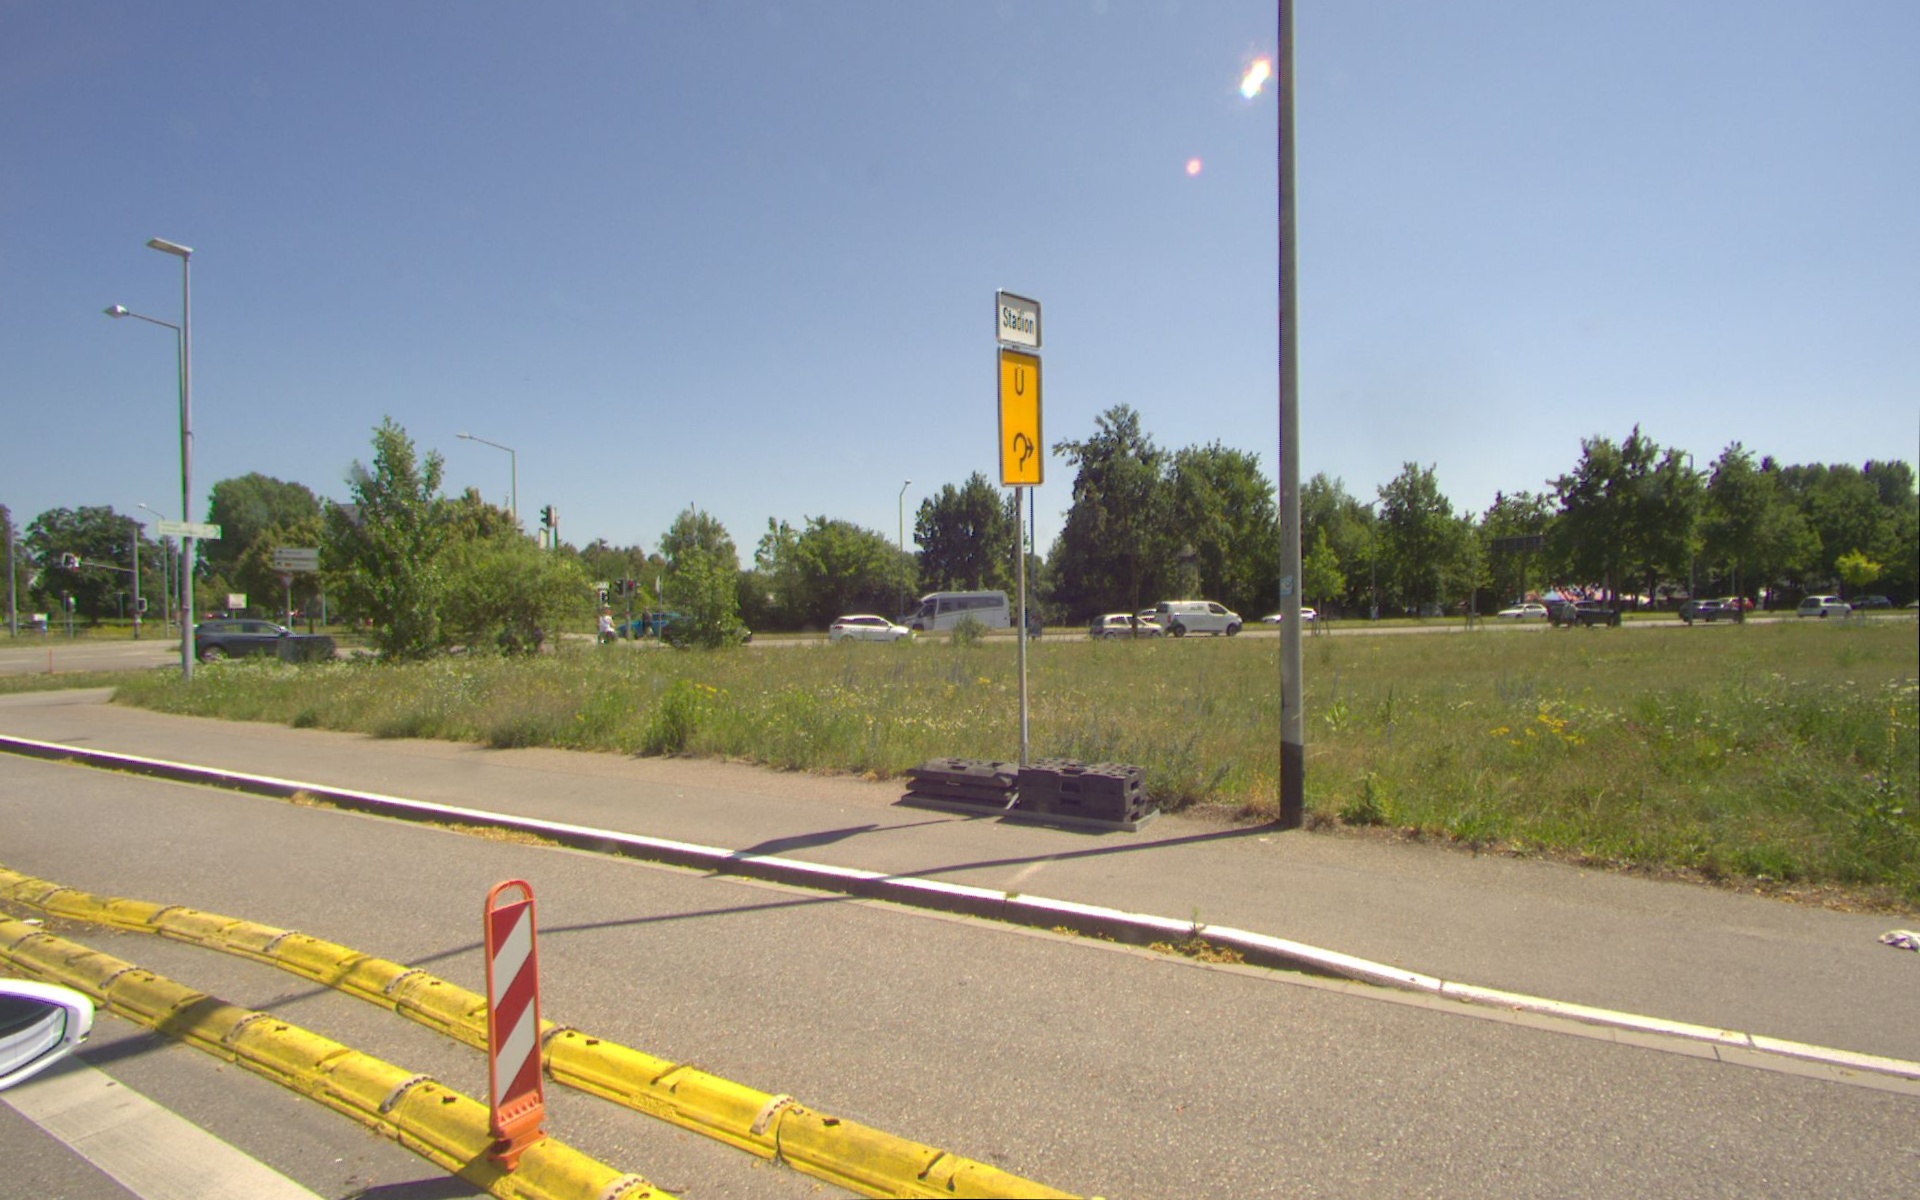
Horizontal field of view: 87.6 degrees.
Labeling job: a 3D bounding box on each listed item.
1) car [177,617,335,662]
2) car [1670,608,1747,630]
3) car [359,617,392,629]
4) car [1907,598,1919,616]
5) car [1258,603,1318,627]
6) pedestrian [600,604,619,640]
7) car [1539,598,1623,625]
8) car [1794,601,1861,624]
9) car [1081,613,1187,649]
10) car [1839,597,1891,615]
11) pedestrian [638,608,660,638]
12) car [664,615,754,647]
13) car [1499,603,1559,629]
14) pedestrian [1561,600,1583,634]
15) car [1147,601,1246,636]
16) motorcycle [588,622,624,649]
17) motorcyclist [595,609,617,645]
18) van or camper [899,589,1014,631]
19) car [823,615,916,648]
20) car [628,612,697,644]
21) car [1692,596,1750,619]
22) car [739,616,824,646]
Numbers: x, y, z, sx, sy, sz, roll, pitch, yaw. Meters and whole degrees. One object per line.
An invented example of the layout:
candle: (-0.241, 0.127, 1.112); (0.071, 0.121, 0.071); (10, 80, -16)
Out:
car: (-23.944, 1.310, 34.157); (4.177, 1.460, 1.981); (1, -2, -44)
car: (49.680, 1.280, 66.479); (4.131, 1.409, 1.899); (0, -1, -15)
car: (-87.487, 3.455, 149.946); (1.963, 1.736, 3.997); (0, -1, 14)
car: (86.802, 0.649, 89.247); (3.928, 1.572, 1.738); (0, -1, -16)
car: (24.431, 1.120, 74.701); (3.926, 1.750, 1.736); (0, -1, -13)
pedestrian: (-18.569, 1.144, 53.002); (0.726, 1.894, 0.648); (-1, -1, 34)
car: (37.976, 0.705, 61.241); (4.369, 1.616, 1.997); (0, -1, -17)
car: (61.631, 0.901, 71.159); (3.928, 1.572, 1.738); (0, -1, -16)
car: (8.671, 1.543, 49.909); (4.855, 1.727, 1.995); (0, -1, -20)
car: (83.109, 0.566, 91.973); (3.928, 1.572, 1.738); (0, -1, -16)
pedestrian: (-16.488, 1.223, 53.081); (0.811, 1.583, 0.790); (-1, -1, 33)
car: (-11.643, 1.404, 46.457); (3.931, 1.425, 1.996); (0, -1, -19)
car: (45.702, 1.309, 80.398); (3.928, 2.040, 1.997); (0, -1, -15)
pedestrian: (28.165, 0.790, 46.090); (0.724, 1.583, 0.497); (0, 0, -18)
car: (12.795, 0.997, 54.260); (4.898, 1.874, 1.997); (0, -1, -17)
motorcycle: (-13.132, 1.300, 37.184); (0.619, 0.982, 1.709); (0, -1, 3)
motorcyclist: (-13.157, 1.009, 37.229); (0.570, 1.306, 0.615); (0, -1, 3)
van or camper: (-0.254, 0.694, 67.644); (7.376, 2.728, 2.510); (0, -1, -15)
car: (-4.101, 1.402, 45.264); (3.949, 1.463, 1.630); (0, -1, -16)
car: (-17.806, 1.693, 60.081); (3.927, 1.861, 1.998); (0, -1, -15)
car: (62.584, 0.626, 82.382); (3.928, 1.839, 1.801); (0, -1, -15)
car: (-9.016, 1.528, 50.521); (4.124, 1.460, 1.998); (0, -1, -14)
